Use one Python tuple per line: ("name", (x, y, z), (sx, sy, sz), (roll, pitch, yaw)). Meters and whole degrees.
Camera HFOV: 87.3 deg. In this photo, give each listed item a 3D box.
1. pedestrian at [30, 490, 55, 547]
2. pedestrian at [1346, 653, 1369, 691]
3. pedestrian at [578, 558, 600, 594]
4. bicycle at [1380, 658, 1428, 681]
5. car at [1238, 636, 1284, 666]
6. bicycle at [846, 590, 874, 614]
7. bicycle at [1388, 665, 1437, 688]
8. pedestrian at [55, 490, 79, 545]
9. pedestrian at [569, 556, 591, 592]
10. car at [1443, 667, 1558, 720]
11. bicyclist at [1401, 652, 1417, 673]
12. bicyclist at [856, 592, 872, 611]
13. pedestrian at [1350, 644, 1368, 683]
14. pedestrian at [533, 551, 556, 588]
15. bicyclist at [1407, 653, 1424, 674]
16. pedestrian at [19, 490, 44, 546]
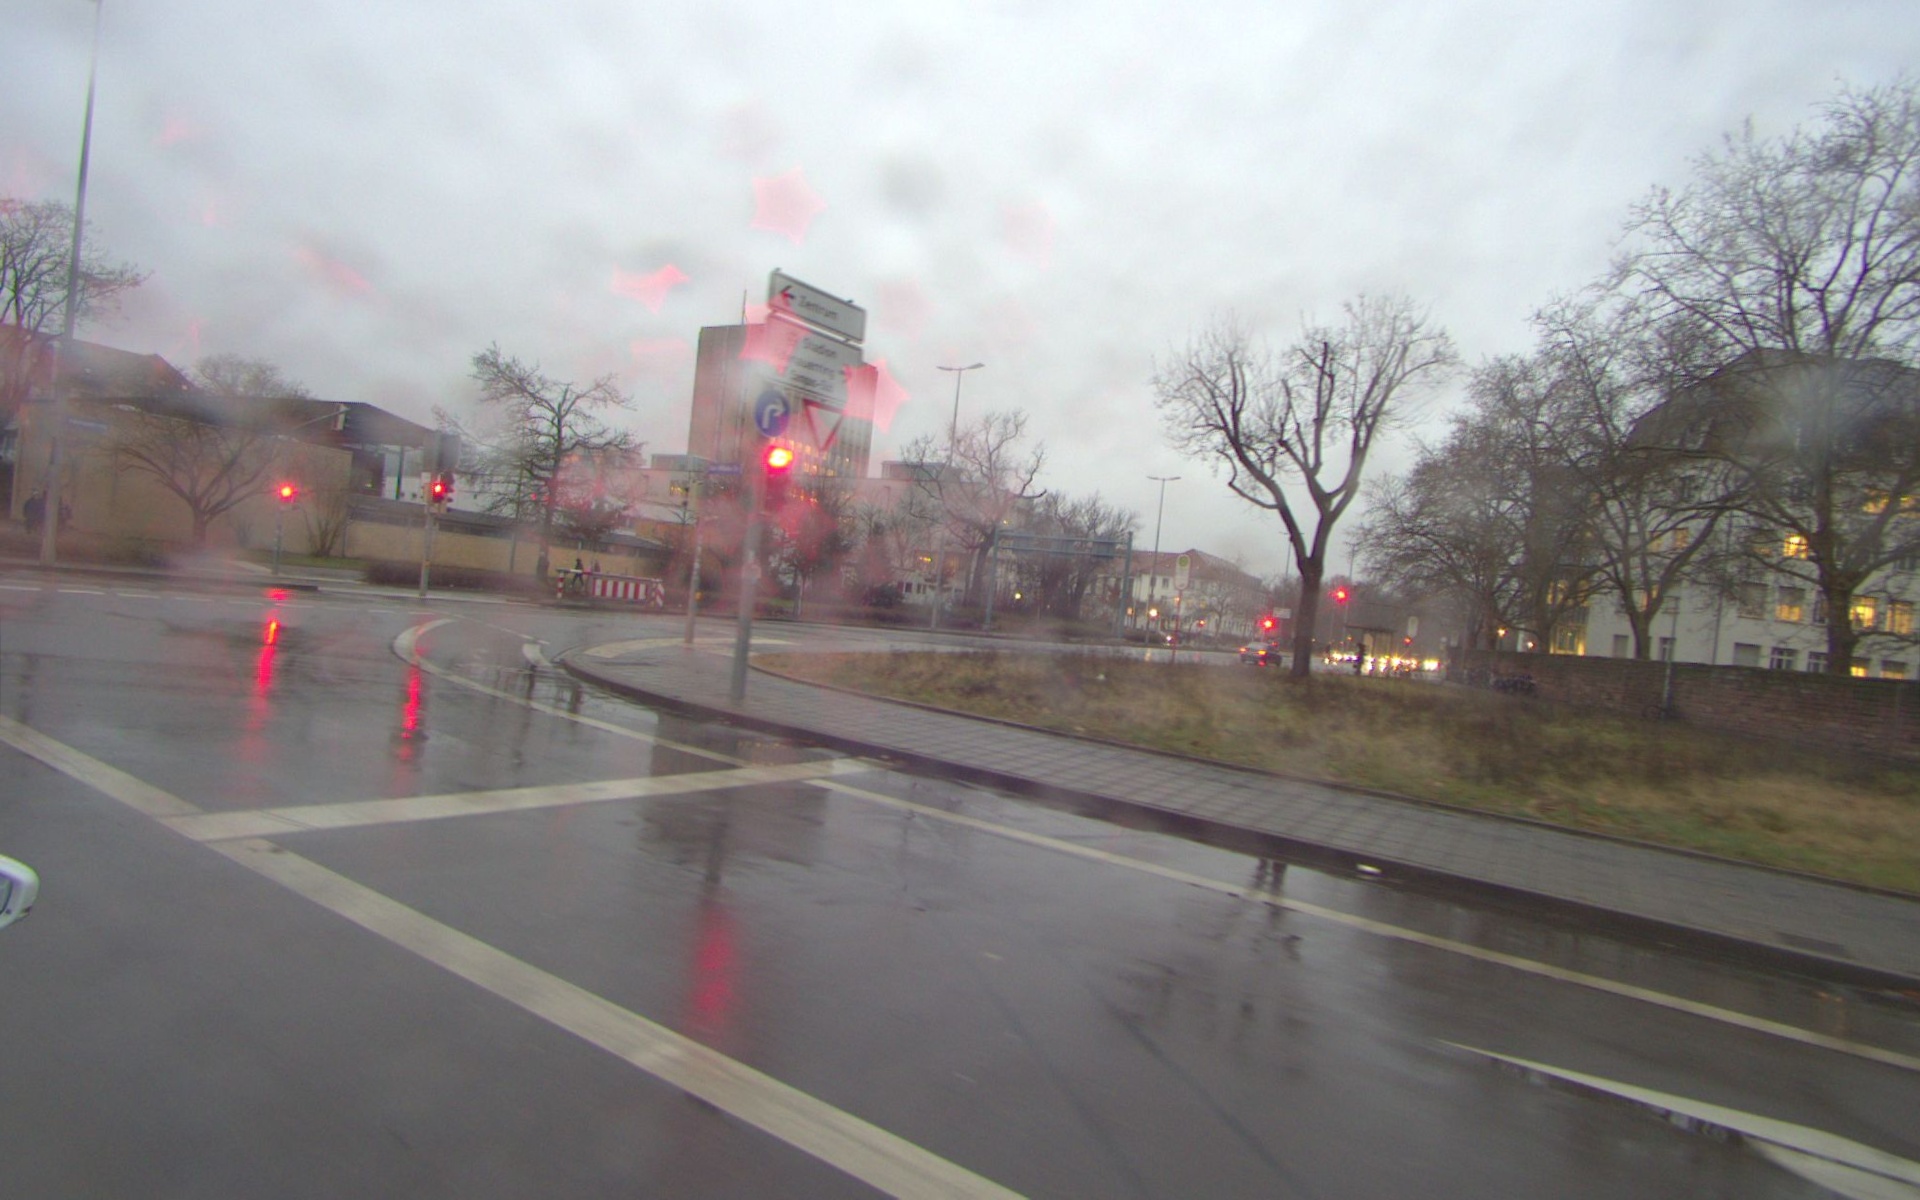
("pedestrian", (-30.966, -2.744, 33.966), (0.456, 1.860, 0.434), (7, -1, -41))
("pedestrian", (20.576, 3.717, 52.032), (0.823, 1.857, 0.667), (5, -1, 34))
("pedestrian", (-18.742, -1.225, 50.830), (0.749, 1.745, 0.623), (5, -2, 38))
("bicycle", (24.942, 3.912, 56.535), (2.373, 1.003, 0.537), (5, -2, 31))
("car", (20.356, 3.445, 67.939), (1.861, 1.670, 3.636), (4, -3, 35))
("bicycle", (-6.802, 0.124, 68.292), (0.584, 1.439, 1.922), (5, -2, 40))
("bicycle", (25.083, 4.230, 55.779), (2.373, 1.003, 0.479), (5, -2, 31))
("pedestrian", (-31.255, -2.884, 35.209), (0.435, 1.860, 0.455), (7, -1, -40))
("pedestrian", (-19.594, -1.348, 51.833), (0.749, 1.745, 0.623), (5, -2, 38))
("car", (13.185, 2.287, 24.528), (2.656, 0.989, 1.290), (7, 1, -34))
("bicyclist", (24.975, 3.489, 55.960), (0.690, 1.092, 0.494), (5, -2, 32))
("bicyclist", (-6.537, 0.105, 68.546), (0.599, 1.261, 0.698), (5, -2, 40))
("pedestrian", (19.865, 3.171, 50.097), (0.633, 1.857, 0.836), (5, -1, 23))
("pedestrian", (-20.537, -1.518, 49.761), (0.749, 1.745, 0.623), (5, -2, 38))
("bicyclist", (25.447, 3.570, 56.212), (0.690, 1.092, 0.494), (5, -2, 32))
("pedestrian", (-31.848, -2.810, 34.511), (0.436, 1.860, 0.455), (7, -1, -41))
